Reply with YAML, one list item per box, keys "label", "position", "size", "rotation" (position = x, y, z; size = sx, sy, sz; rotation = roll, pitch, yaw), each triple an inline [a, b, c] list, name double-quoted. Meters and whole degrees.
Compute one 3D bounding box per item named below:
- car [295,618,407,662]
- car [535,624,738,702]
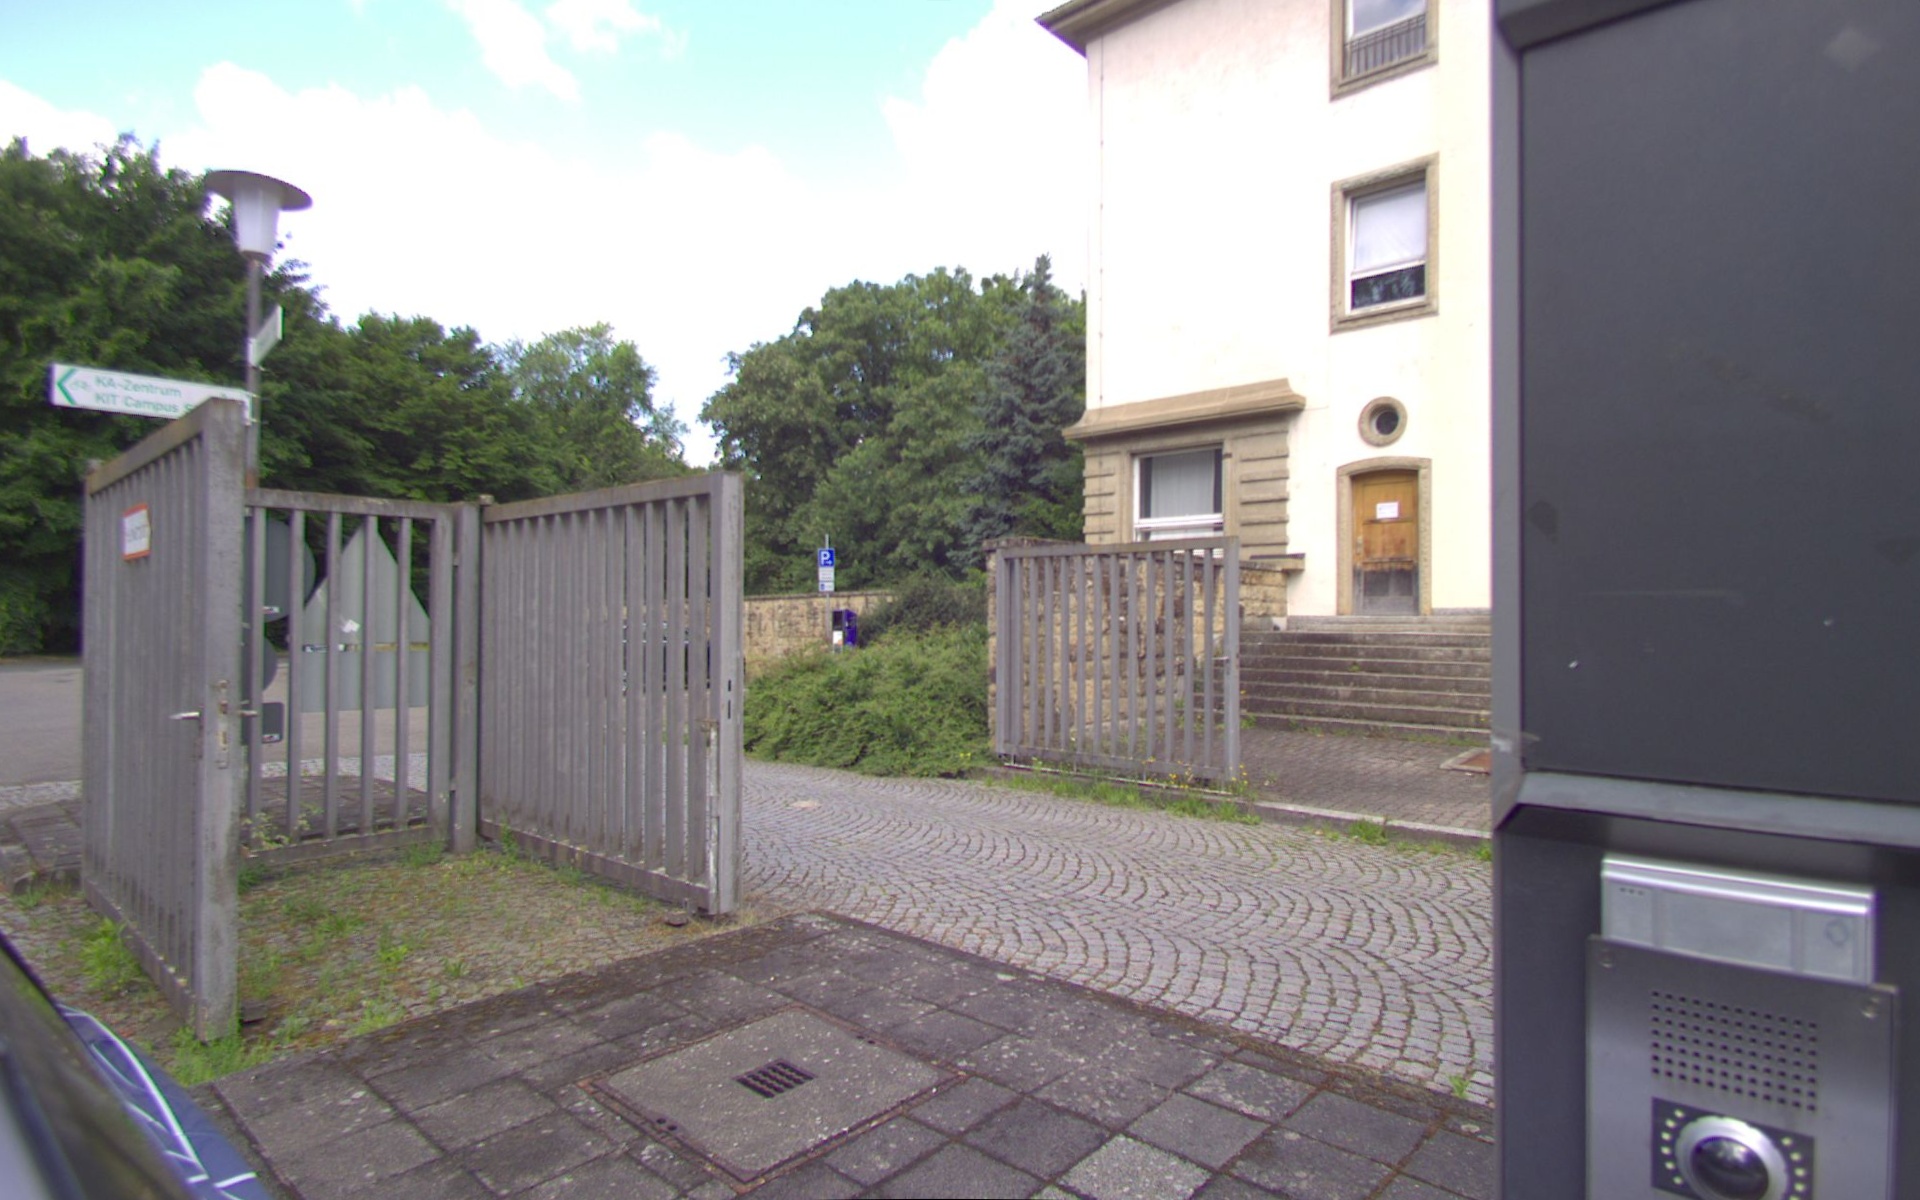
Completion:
- label: "car"
  position: [-26.465, 1.709, 44.155]
  size: [1.848, 1.772, 4.134]
  rotation: [1, -1, 11]
- label: "car"
  position: [-7.173, 1.339, 22.631]
  size: [3.939, 1.529, 1.804]
  rotation: [0, -1, -43]
